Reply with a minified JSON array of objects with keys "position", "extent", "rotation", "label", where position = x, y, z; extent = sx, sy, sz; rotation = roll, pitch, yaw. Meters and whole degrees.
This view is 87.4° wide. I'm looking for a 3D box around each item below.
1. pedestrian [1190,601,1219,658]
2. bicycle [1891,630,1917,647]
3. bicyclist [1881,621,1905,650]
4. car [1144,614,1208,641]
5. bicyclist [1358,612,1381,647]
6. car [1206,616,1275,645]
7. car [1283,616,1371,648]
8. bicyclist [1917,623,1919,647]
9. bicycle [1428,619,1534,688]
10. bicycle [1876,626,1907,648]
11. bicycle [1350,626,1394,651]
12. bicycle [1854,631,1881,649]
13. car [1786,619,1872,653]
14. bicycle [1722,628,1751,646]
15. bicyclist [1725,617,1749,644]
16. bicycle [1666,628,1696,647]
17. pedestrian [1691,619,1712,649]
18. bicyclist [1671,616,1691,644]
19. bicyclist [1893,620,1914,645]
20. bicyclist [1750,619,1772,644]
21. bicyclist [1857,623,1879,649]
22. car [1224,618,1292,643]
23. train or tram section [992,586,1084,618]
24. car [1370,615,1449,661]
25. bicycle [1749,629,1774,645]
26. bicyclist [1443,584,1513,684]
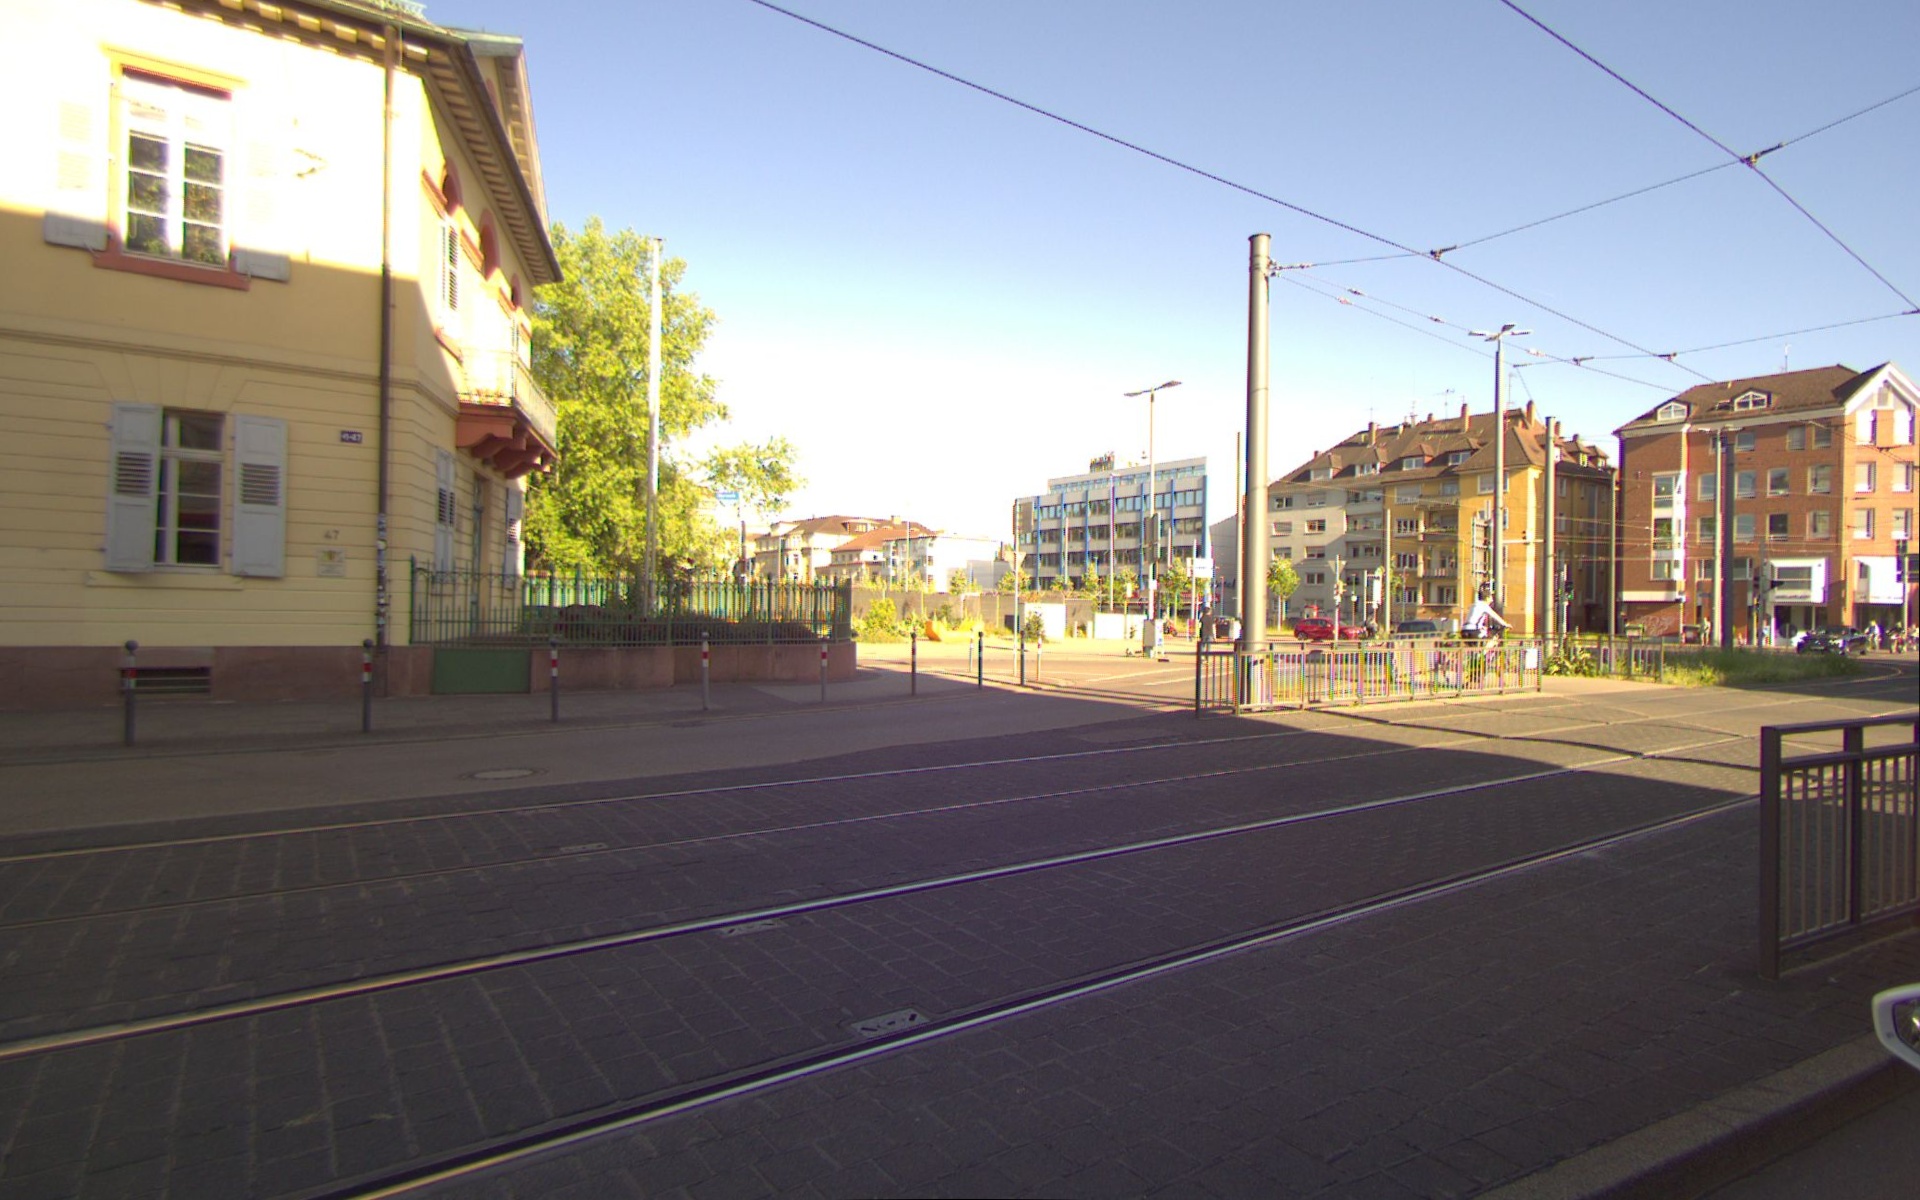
[{"position":[7.406,0.892,30.480],"extent":[0.758,1.703,0.593],"rotation":[2,0,7],"label":"pedestrian"},{"position":[60.883,2.462,64.773],"extent":[2.255,1.103,0.527],"rotation":[1,-1,-28],"label":"bicycle"},{"position":[50.991,1.918,54.895],"extent":[0.581,1.547,0.783],"rotation":[2,0,-25],"label":"bicyclist"},{"position":[14.737,1.868,68.570],"extent":[1.895,1.708,3.916],"rotation":[2,0,-41],"label":"car"},{"position":[22.257,1.599,54.570],"extent":[0.785,1.832,0.892],"rotation":[2,0,-42],"label":"bicyclist"},{"position":[17.998,1.939,64.577],"extent":[1.762,1.694,3.955],"rotation":[2,0,-39],"label":"car"},{"position":[21.861,1.882,59.898],"extent":[1.984,1.723,4.545],"rotation":[2,0,-41],"label":"car"},{"position":[63.618,2.292,66.069],"extent":[0.737,1.584,0.781],"rotation":[1,0,-28],"label":"bicyclist"},{"position":[9.826,1.011,18.961],"extent":[1.821,1.238,0.485],"rotation":[2,0,-9],"label":"bicycle"},{"position":[50.793,2.021,54.766],"extent":[2.172,1.108,0.457],"rotation":[2,0,-26],"label":"bicycle"},{"position":[22.358,2.088,54.527],"extent":[0.542,1.230,2.168],"rotation":[2,0,-41],"label":"bicycle"},{"position":[56.380,2.477,62.403],"extent":[2.197,1.103,0.535],"rotation":[2,0,-28],"label":"bicycle"},{"position":[42.381,1.753,48.966],"extent":[3.982,1.547,1.705],"rotation":[2,0,-25],"label":"car"},{"position":[45.543,2.166,58.916],"extent":[2.220,0.984,0.521],"rotation":[2,0,-31],"label":"bicycle"},{"position":[45.509,1.778,58.864],"extent":[0.688,1.523,0.894],"rotation":[2,0,-30],"label":"bicyclist"},{"position":[39.764,2.064,55.403],"extent":[2.220,0.984,0.444],"rotation":[2,0,-31],"label":"bicycle"},{"position":[46.561,2.115,63.043],"extent":[0.737,1.845,0.781],"rotation":[2,0,-28],"label":"pedestrian"},{"position":[39.772,1.647,55.399],"extent":[0.688,1.523,0.630],"rotation":[2,0,-30],"label":"bicyclist"},{"position":[60.890,2.085,64.805],"extent":[0.737,1.584,0.781],"rotation":[1,0,-28],"label":"bicyclist"},{"position":[50.379,1.977,63.139],"extent":[0.958,1.490,0.702],"rotation":[1,0,-22],"label":"bicyclist"},{"position":[56.425,2.242,62.420],"extent":[0.737,1.584,0.781],"rotation":[2,0,-28],"label":"bicyclist"},{"position":[19.711,1.992,66.528],"extent":[1.781,1.503,3.949],"rotation":[2,0,-43],"label":"car"},{"position":[8.243,0.178,108.158],"extent":[2.784,3.172,11.130],"rotation":[2,0,-41],"label":"train or tram section"},{"position":[16.538,1.383,36.885],"extent":[1.621,1.546,3.847],"rotation":[2,0,40],"label":"car"},{"position":[50.369,2.337,63.124],"extent":[1.669,0.994,0.403],"rotation":[2,0,-22],"label":"bicycle"},{"position":[9.757,0.622,18.939],"extent":[0.739,1.783,0.757],"rotation":[2,5,-9],"label":"bicyclist"}]
